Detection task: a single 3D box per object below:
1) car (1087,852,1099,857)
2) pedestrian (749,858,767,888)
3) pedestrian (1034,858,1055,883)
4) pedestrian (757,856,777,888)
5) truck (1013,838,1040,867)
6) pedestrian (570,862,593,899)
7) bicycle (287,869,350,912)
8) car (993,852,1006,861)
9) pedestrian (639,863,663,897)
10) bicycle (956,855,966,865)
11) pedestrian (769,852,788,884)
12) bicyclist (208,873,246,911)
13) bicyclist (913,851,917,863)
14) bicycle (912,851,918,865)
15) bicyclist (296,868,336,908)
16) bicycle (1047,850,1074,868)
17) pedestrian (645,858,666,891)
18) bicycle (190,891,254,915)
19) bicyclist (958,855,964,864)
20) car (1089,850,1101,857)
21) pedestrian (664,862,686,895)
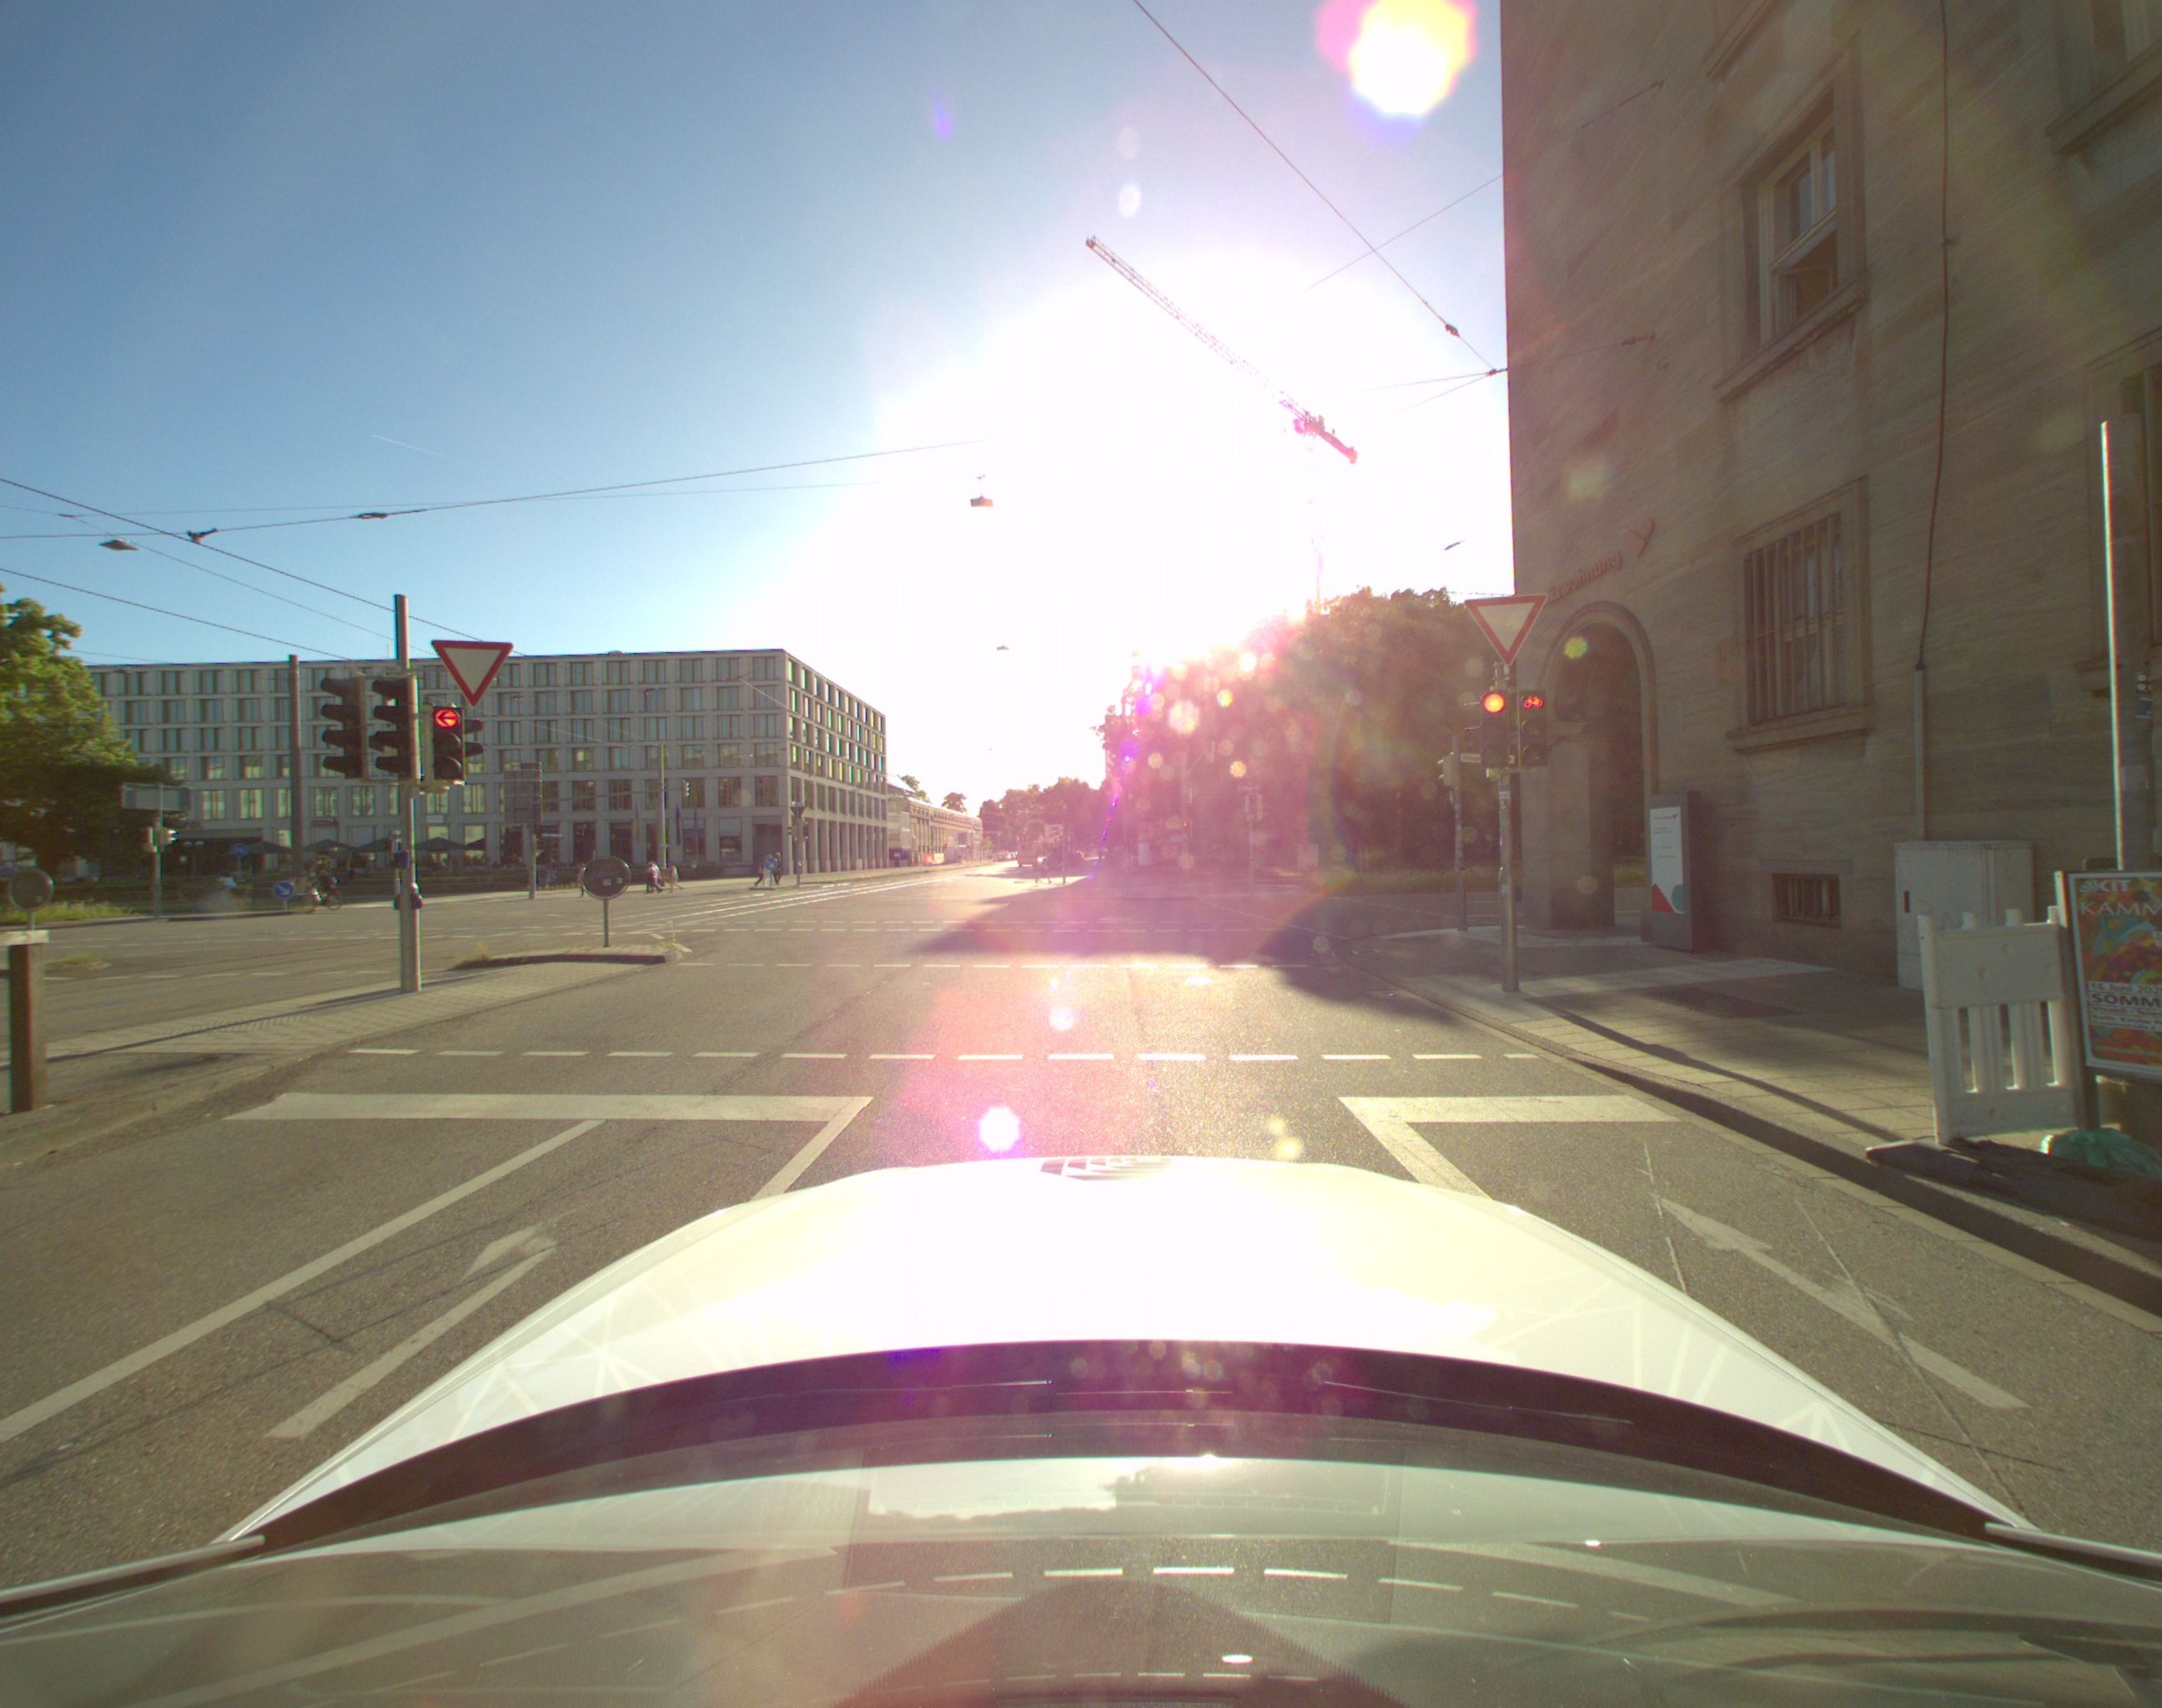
[{"bbox_3d":[3.182,0.079,211.383,3.207,1.263,1.373,0,-1,0],"label":"car"},{"bbox_3d":[-17.751,1.029,44.755,0.691,1.644,0.622,-2,0,2],"label":"pedestrian"},{"bbox_3d":[-1.969,0.879,43.893,0.990,1.317,0.767,-2,0,2],"label":"pedestrian"},{"bbox_3d":[-16.447,0.939,42.705,0.790,1.644,0.621,-2,0,-3],"label":"pedestrian"},{"bbox_3d":[-6.006,-0.161,90.933,2.710,3.016,6.483,-1,0,-2],"label":"truck"},{"bbox_3d":[-26.983,1.432,44.015,0.797,1.918,0.638,-2,0,7],"label":"pedestrian"},{"bbox_3d":[-32.690,1.557,34.930,1.898,1.735,0.595,-2,0,-12],"label":"bicycle"},{"bbox_3d":[-15.688,0.544,157.165,1.888,1.607,4.499,-2,0,0],"label":"car"},{"bbox_3d":[-23.393,1.385,44.334,0.865,1.803,0.665,-2,0,7],"label":"pedestrian"},{"bbox_3d":[-18.833,0.939,127.897,0.686,1.511,2.950,0,-1,7],"label":"bicycle"},{"bbox_3d":[-16.961,0.808,45.705,0.744,1.761,0.679,-2,-1,6],"label":"pedestrian"},{"bbox_3d":[-36.626,1.618,34.941,0.972,1.560,0.574,-2,0,-2],"label":"bicyclist"},{"bbox_3d":[-26.728,0.500,131.080,0.569,2.024,0.762,-2,0,0],"label":"bicyclist"},{"bbox_3d":[-26.725,0.626,131.126,0.569,2.296,1.422,-2,0,0],"label":"bicycle"},{"bbox_3d":[-32.794,1.452,34.910,1.075,1.641,0.595,-2,0,-11],"label":"bicyclist"},{"bbox_3d":[-2.051,0.477,81.618,2.538,1.744,1.038,0,-1,1],"label":"bicycle"},{"bbox_3d":[-23.843,1.149,45.649,0.735,1.803,0.717,-2,0,7],"label":"pedestrian"},{"bbox_3d":[-36.821,2.084,34.929,2.059,0.933,0.574,-2,0,-2],"label":"bicycle"},{"bbox_3d":[-18.784,0.844,127.967,0.686,1.328,1.002,0,-1,7],"label":"bicyclist"},{"bbox_3d":[3.670,-0.126,213.691,3.207,1.588,1.445,0,-1,-3],"label":"car"},{"bbox_3d":[-22.641,1.340,45.408,0.865,1.803,0.533,-2,0,7],"label":"pedestrian"}]
